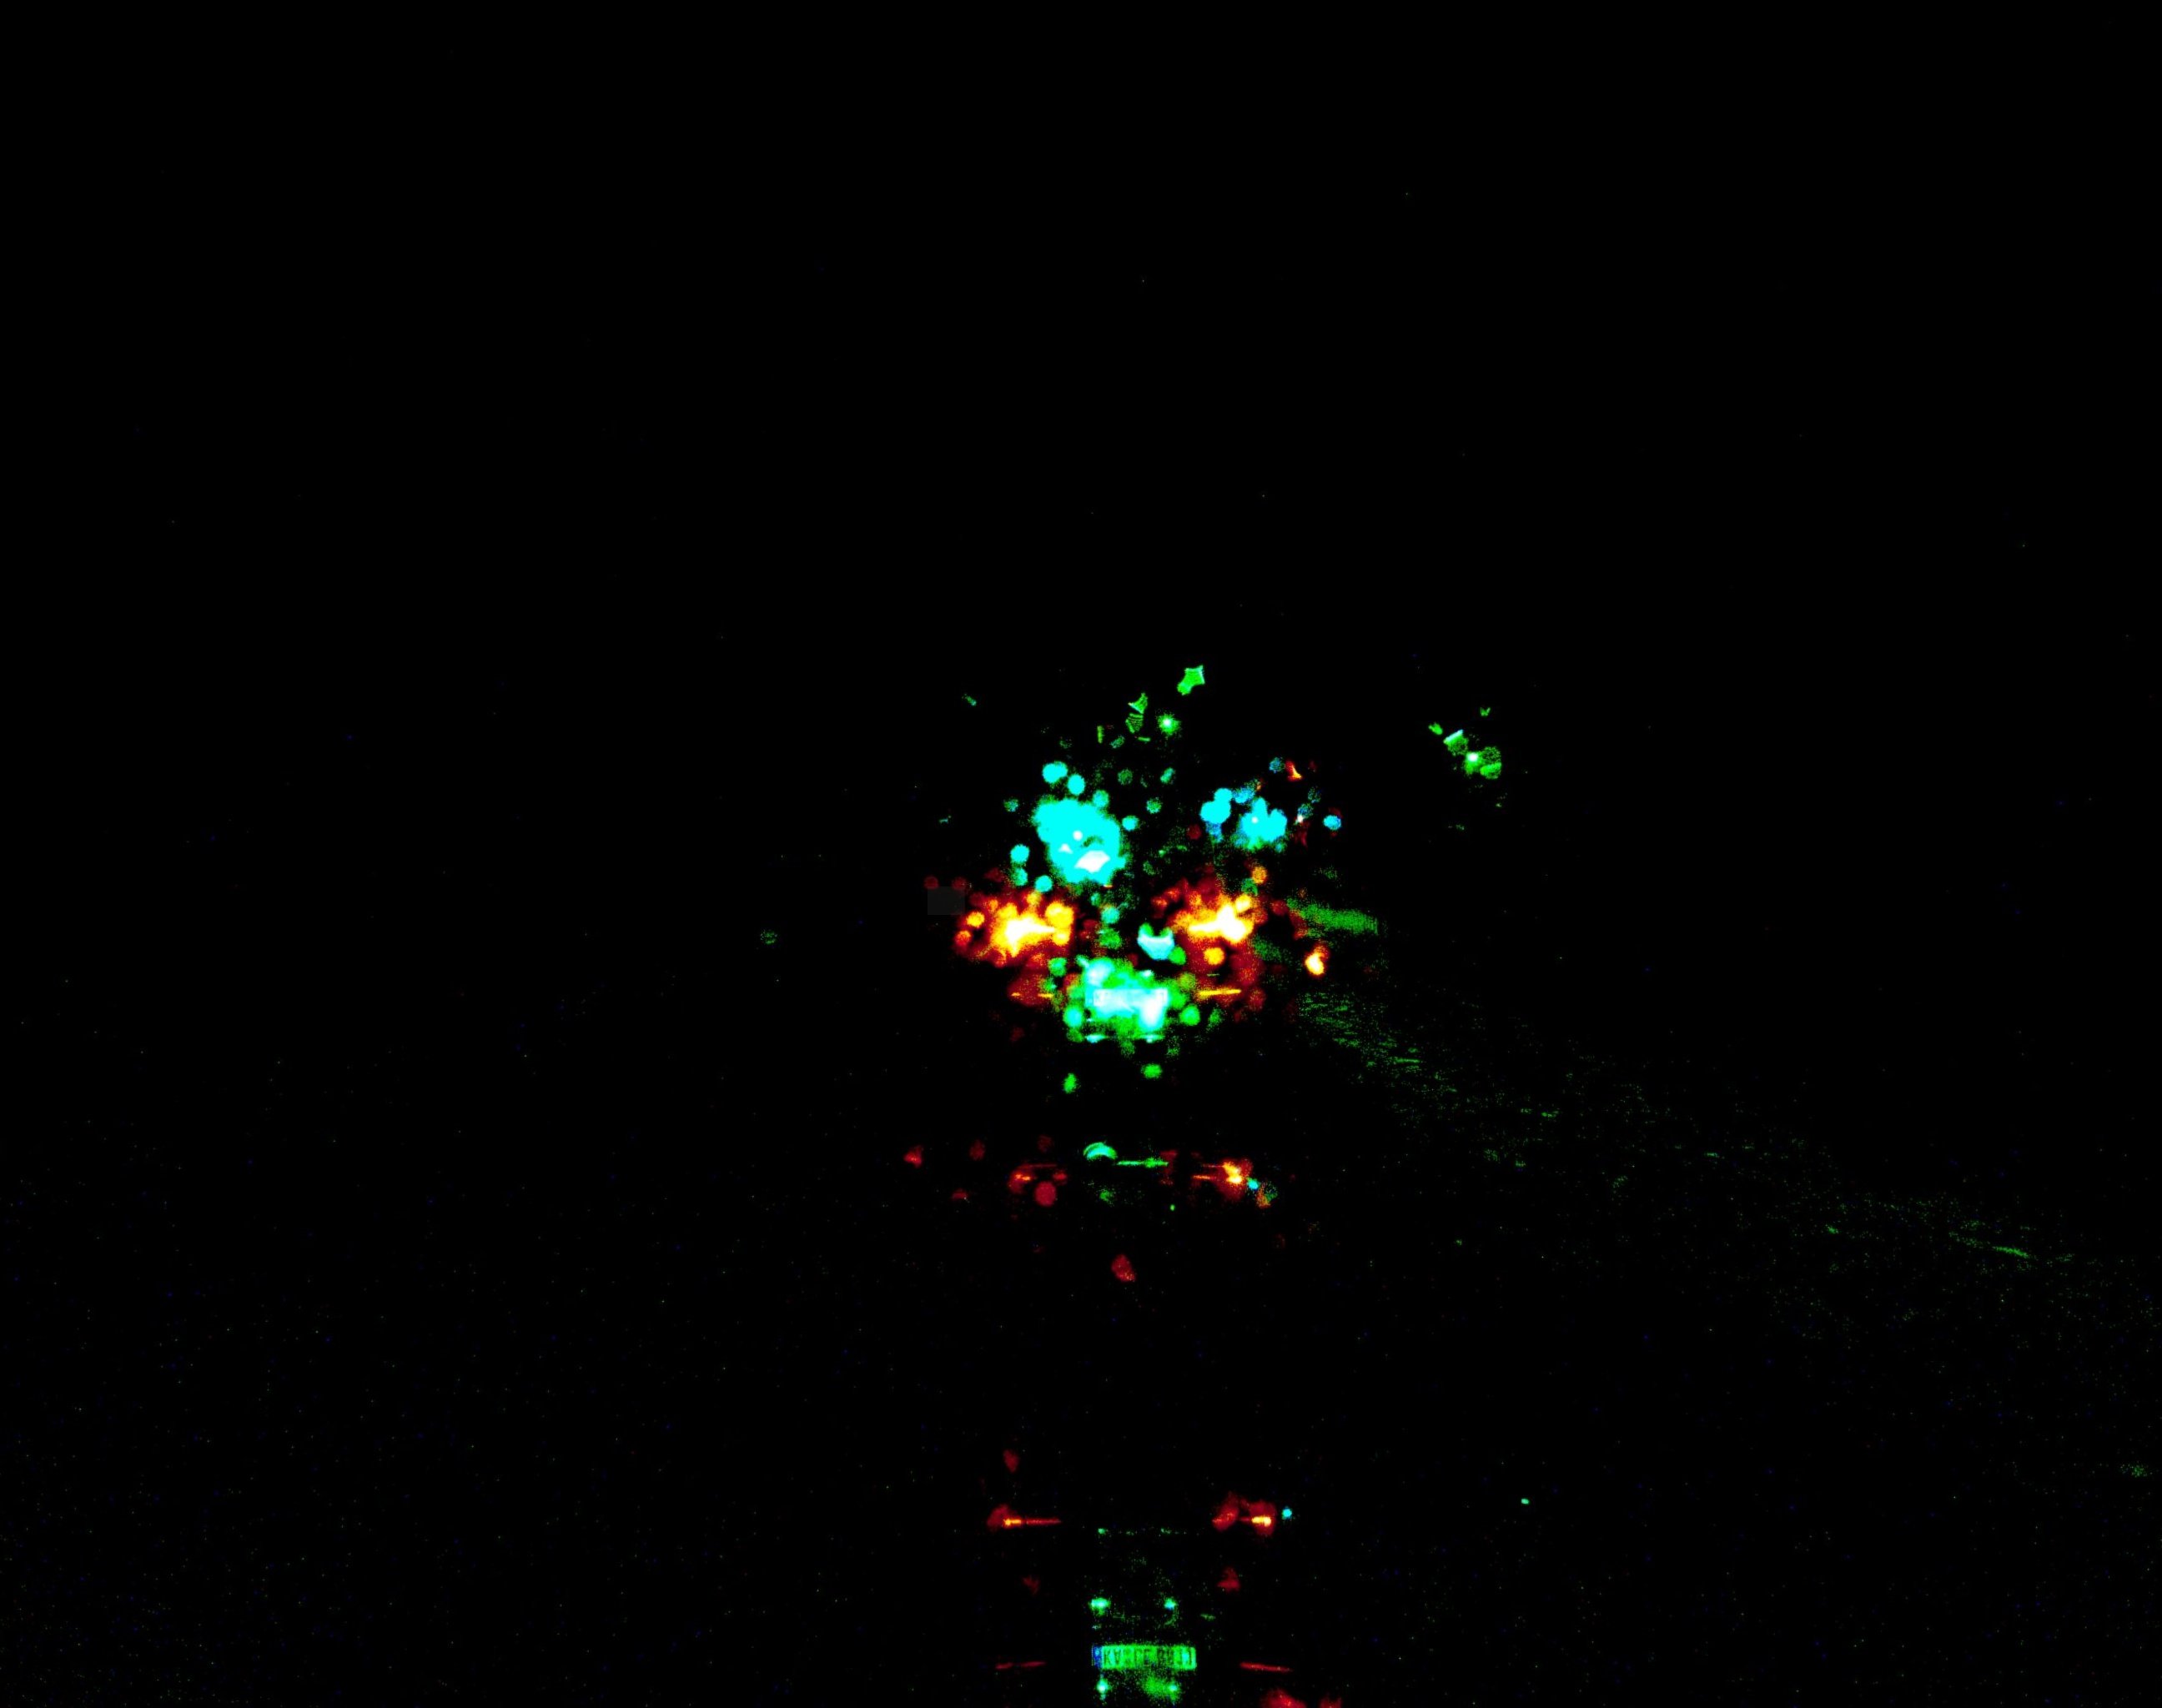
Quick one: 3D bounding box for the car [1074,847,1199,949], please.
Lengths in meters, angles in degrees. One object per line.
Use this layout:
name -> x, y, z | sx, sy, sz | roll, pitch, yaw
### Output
car -> 0.981, 0.697, 15.208 | 1.902, 1.510, 4.243 | -4, 0, 2

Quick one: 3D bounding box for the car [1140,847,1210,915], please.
car -> 3.175, 0.782, 26.767 | 1.759, 1.947, 4.269 | 2, 2, 12

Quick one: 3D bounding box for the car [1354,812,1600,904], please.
car -> 8.465, 0.095, 17.853 | 4.437, 1.586, 1.946 | -4, 0, 13

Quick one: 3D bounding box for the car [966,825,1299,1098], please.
car -> 0.381, 0.669, 7.090 | 2.050, 1.678, 4.141 | 0, 0, 2
